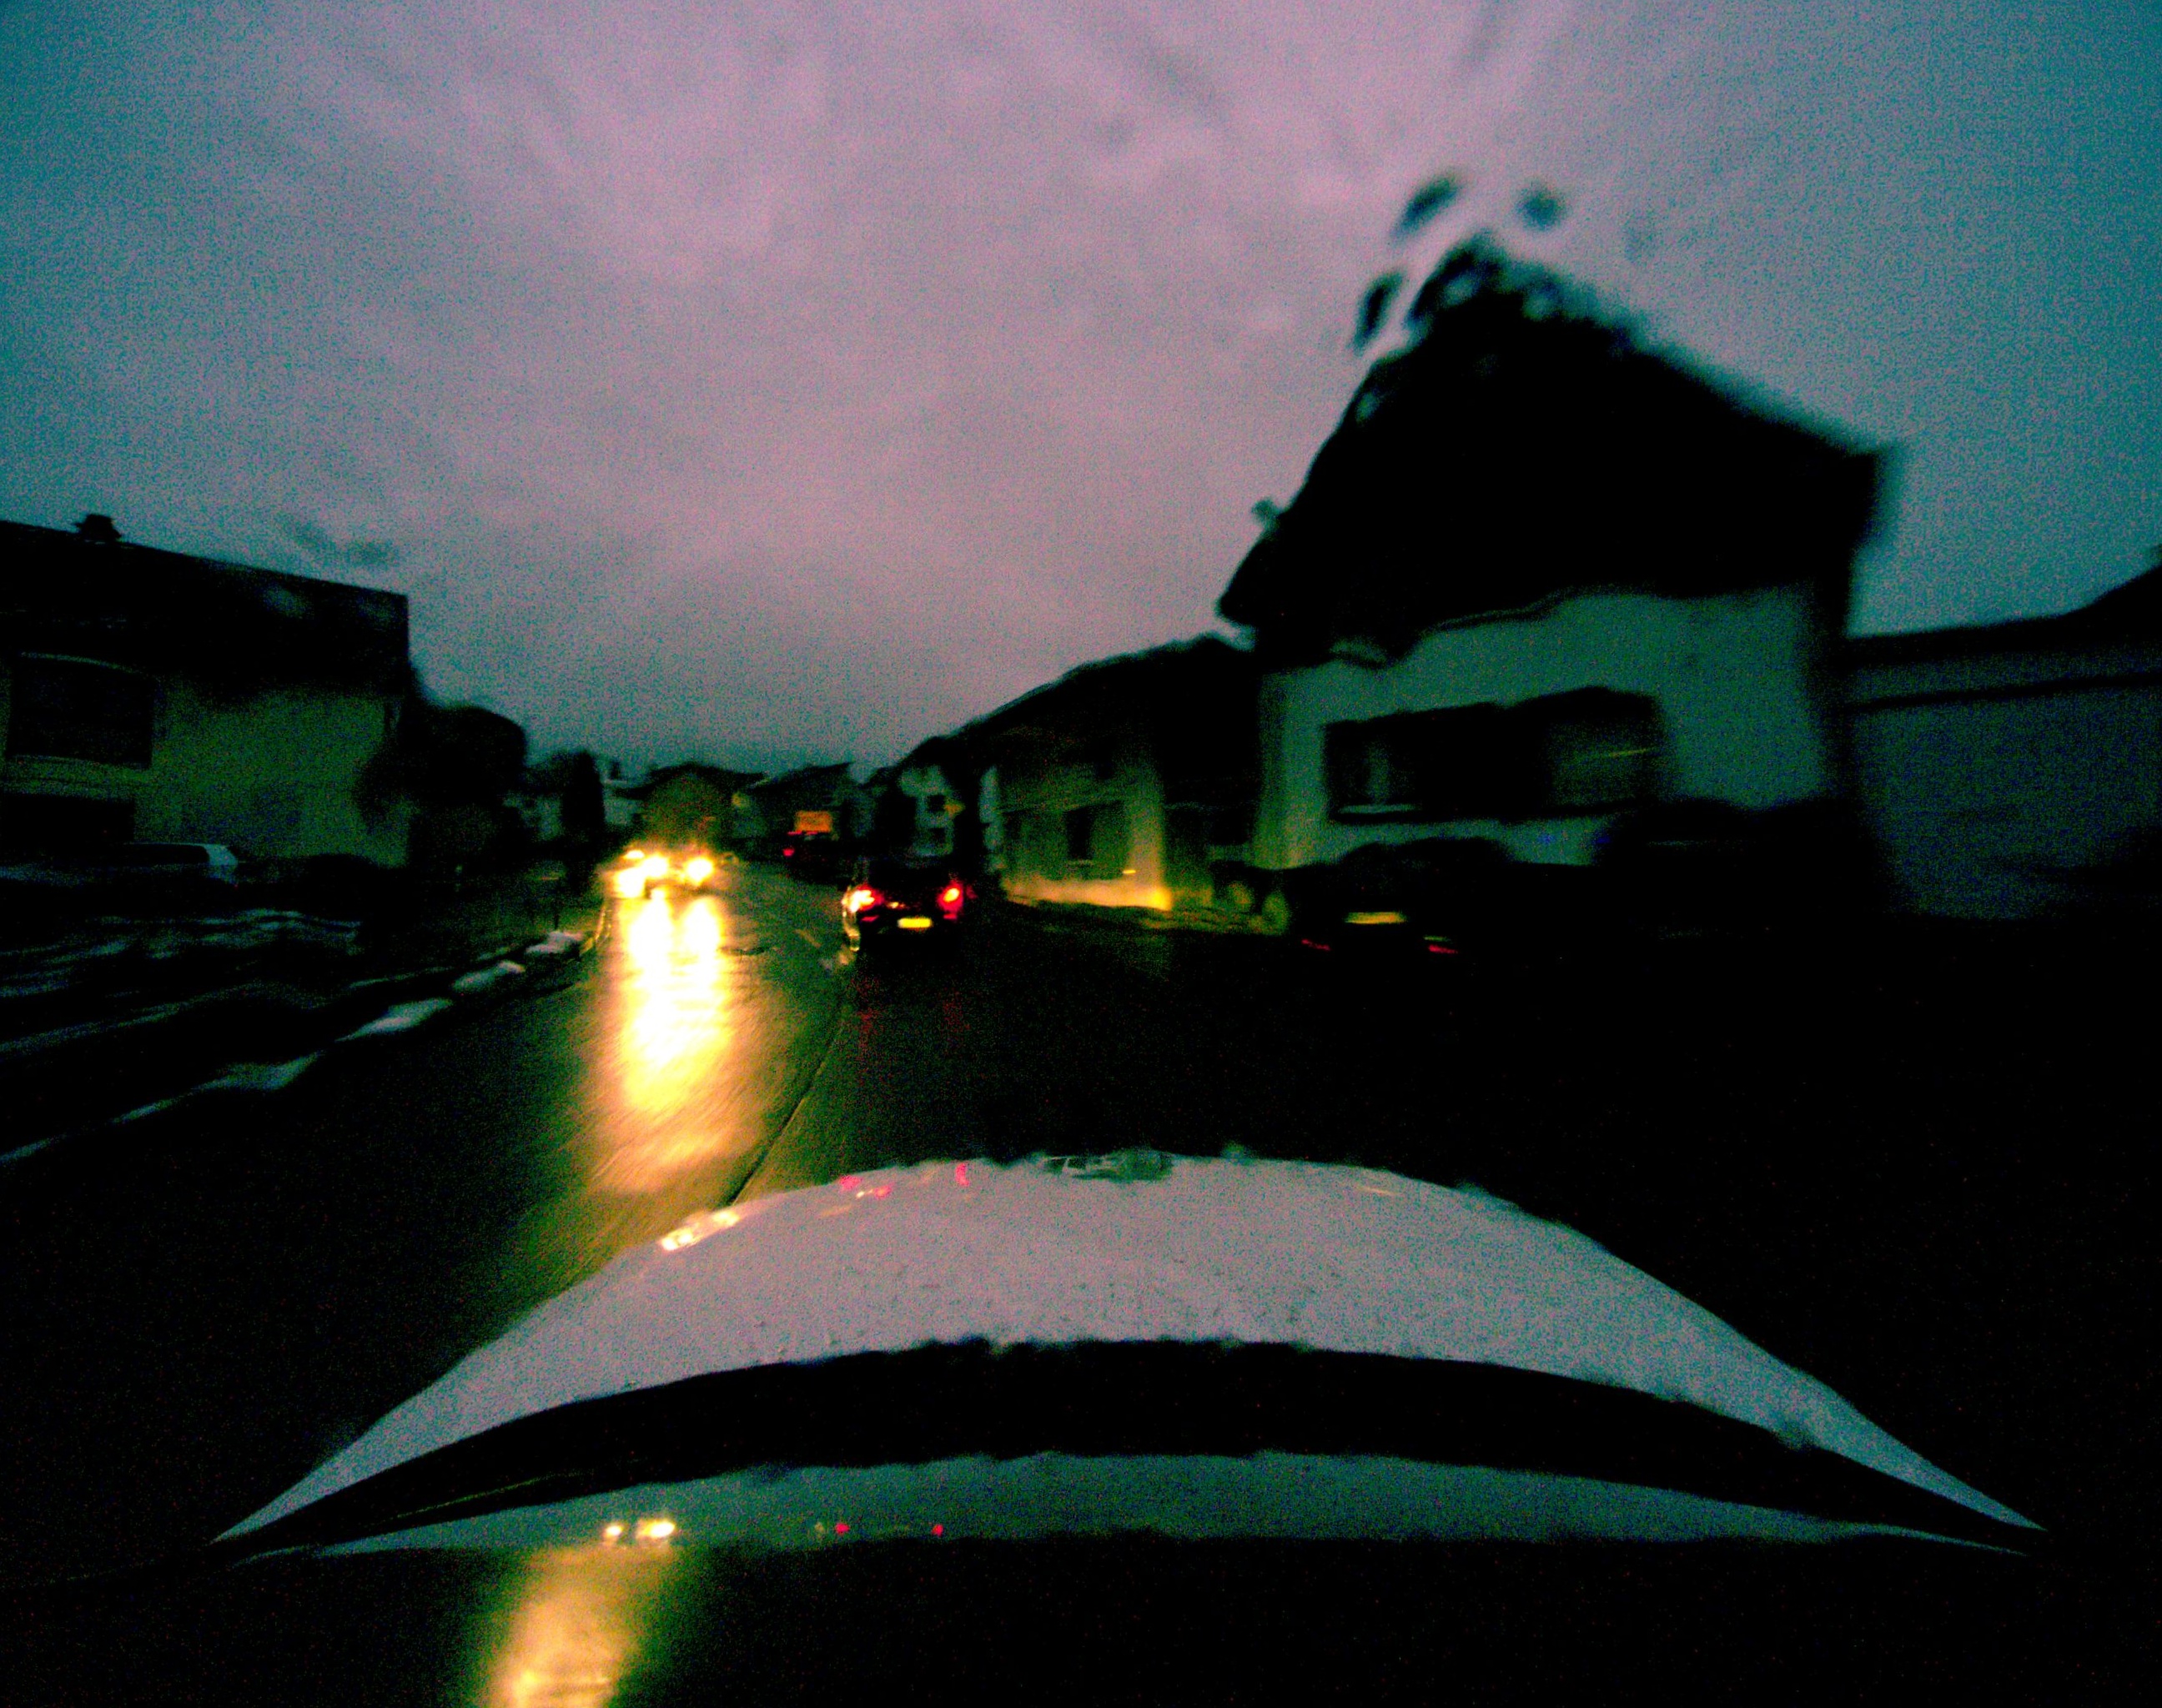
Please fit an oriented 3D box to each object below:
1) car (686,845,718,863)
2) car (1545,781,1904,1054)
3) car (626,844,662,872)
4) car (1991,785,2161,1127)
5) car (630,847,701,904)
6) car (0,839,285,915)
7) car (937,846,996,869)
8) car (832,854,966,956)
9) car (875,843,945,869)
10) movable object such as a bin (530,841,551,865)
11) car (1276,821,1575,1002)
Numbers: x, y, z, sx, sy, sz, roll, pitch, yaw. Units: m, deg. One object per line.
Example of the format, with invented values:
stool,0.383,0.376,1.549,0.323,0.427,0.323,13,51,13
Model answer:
car,-37.974,-0.004,81.529,2.010,1.644,3.954,1,0,-39
car,5.708,0.283,7.236,1.832,1.660,4.505,-4,1,41
car,-27.836,0.226,51.799,1.924,1.653,3.963,1,0,-30
car,6.751,0.328,4.518,1.792,1.420,4.064,-4,1,42
car,-13.673,0.633,26.645,1.889,1.612,4.559,0,1,-29
car,-19.899,0.464,17.336,4.019,1.462,1.800,1,0,-38
car,-8.169,0.216,58.080,3.948,1.566,1.827,0,1,35
car,-3.208,0.752,13.837,1.553,1.466,3.670,1,0,-24
car,-11.051,0.118,52.509,4.492,1.628,1.827,0,1,35
movable object such as a bin,-35.783,-0.050,53.941,1.103,1.543,1.276,1,0,-31
car,4.059,0.487,9.232,1.864,1.450,3.918,-4,1,42
